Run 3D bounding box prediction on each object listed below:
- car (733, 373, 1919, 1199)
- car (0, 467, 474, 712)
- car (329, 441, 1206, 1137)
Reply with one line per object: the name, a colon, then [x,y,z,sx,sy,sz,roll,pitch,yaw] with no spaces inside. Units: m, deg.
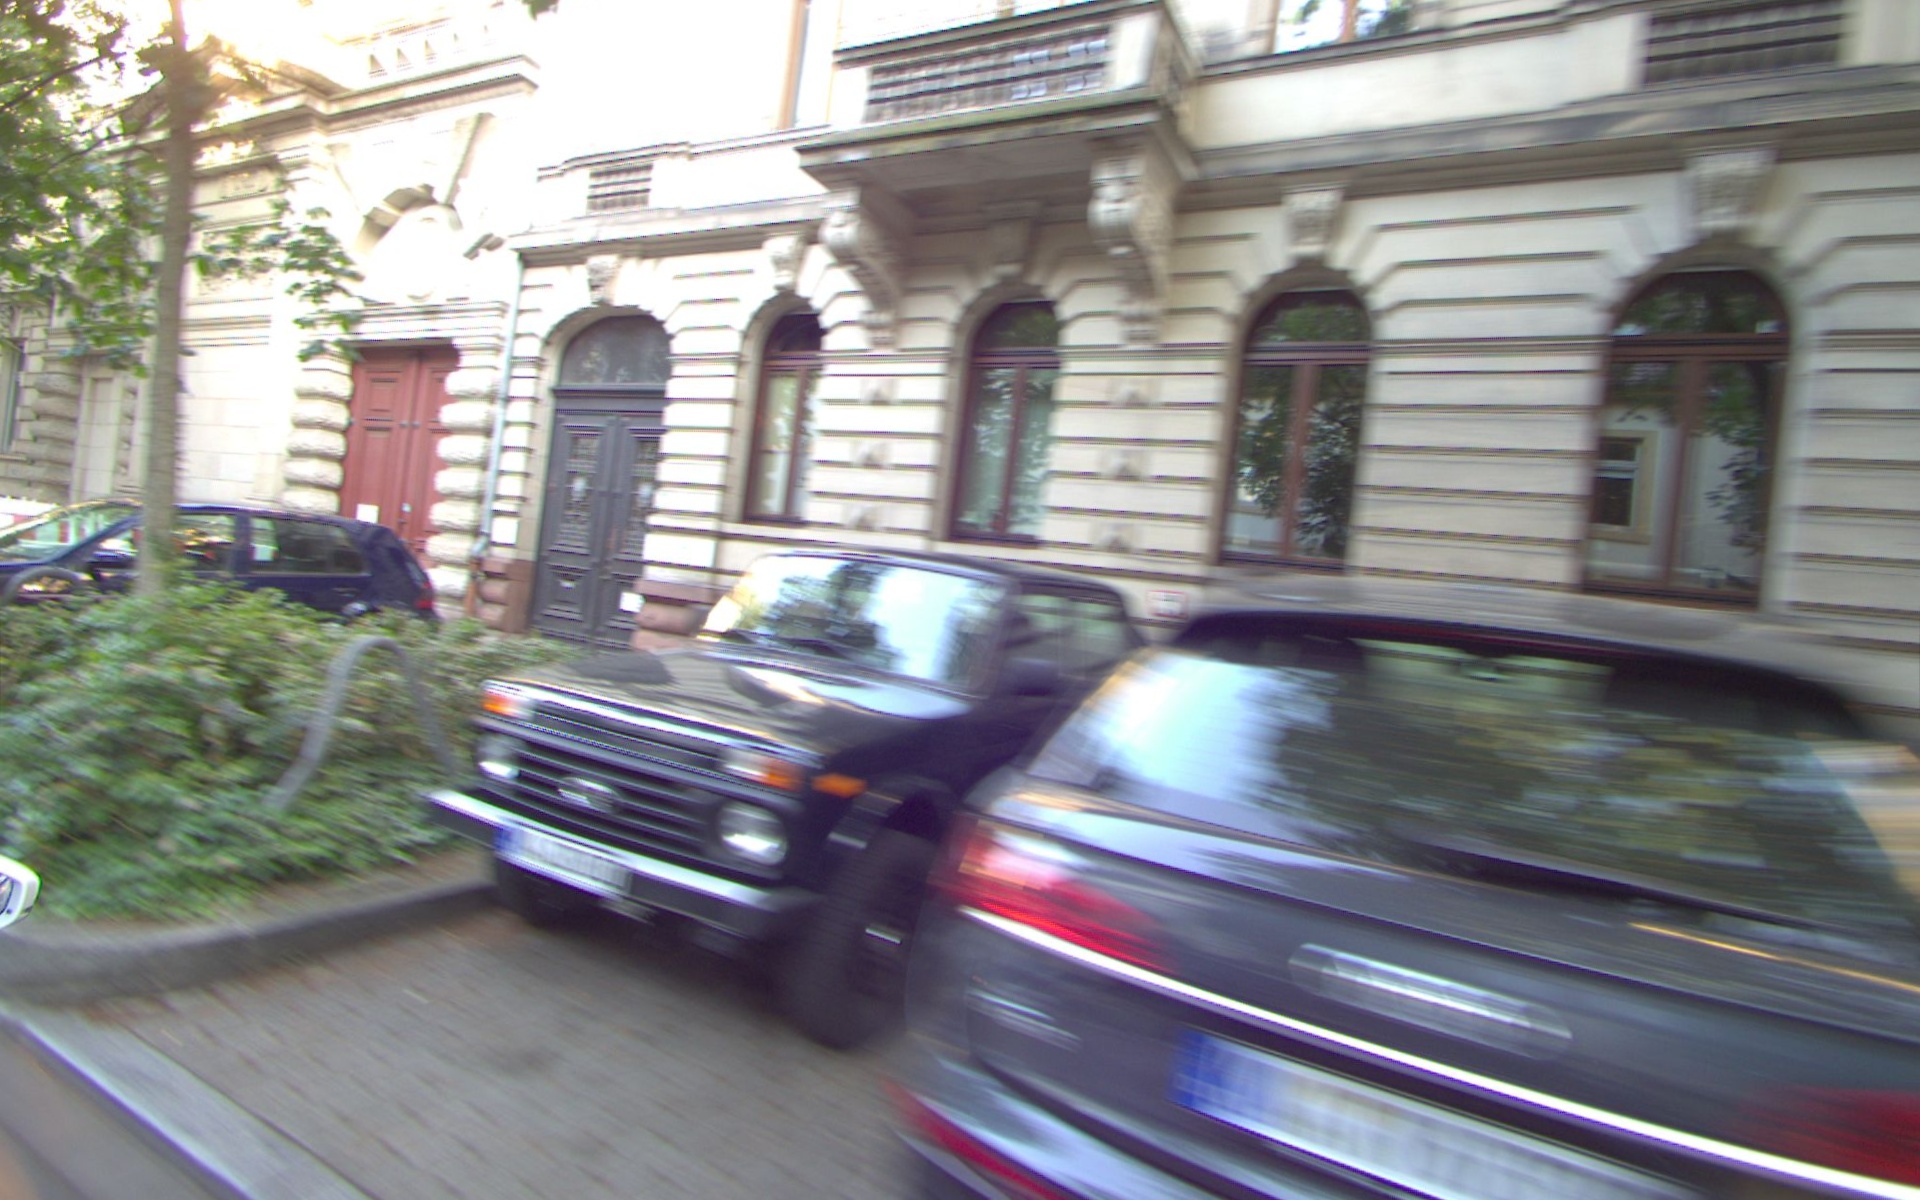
car: [1.566,0.739,3.113,1.934,1.739,4.447,6,0,29]
car: [-6.153,-0.117,7.477,1.823,1.500,4.228,7,1,29]
car: [-0.323,0.554,4.717,1.734,1.707,4.015,7,0,29]
